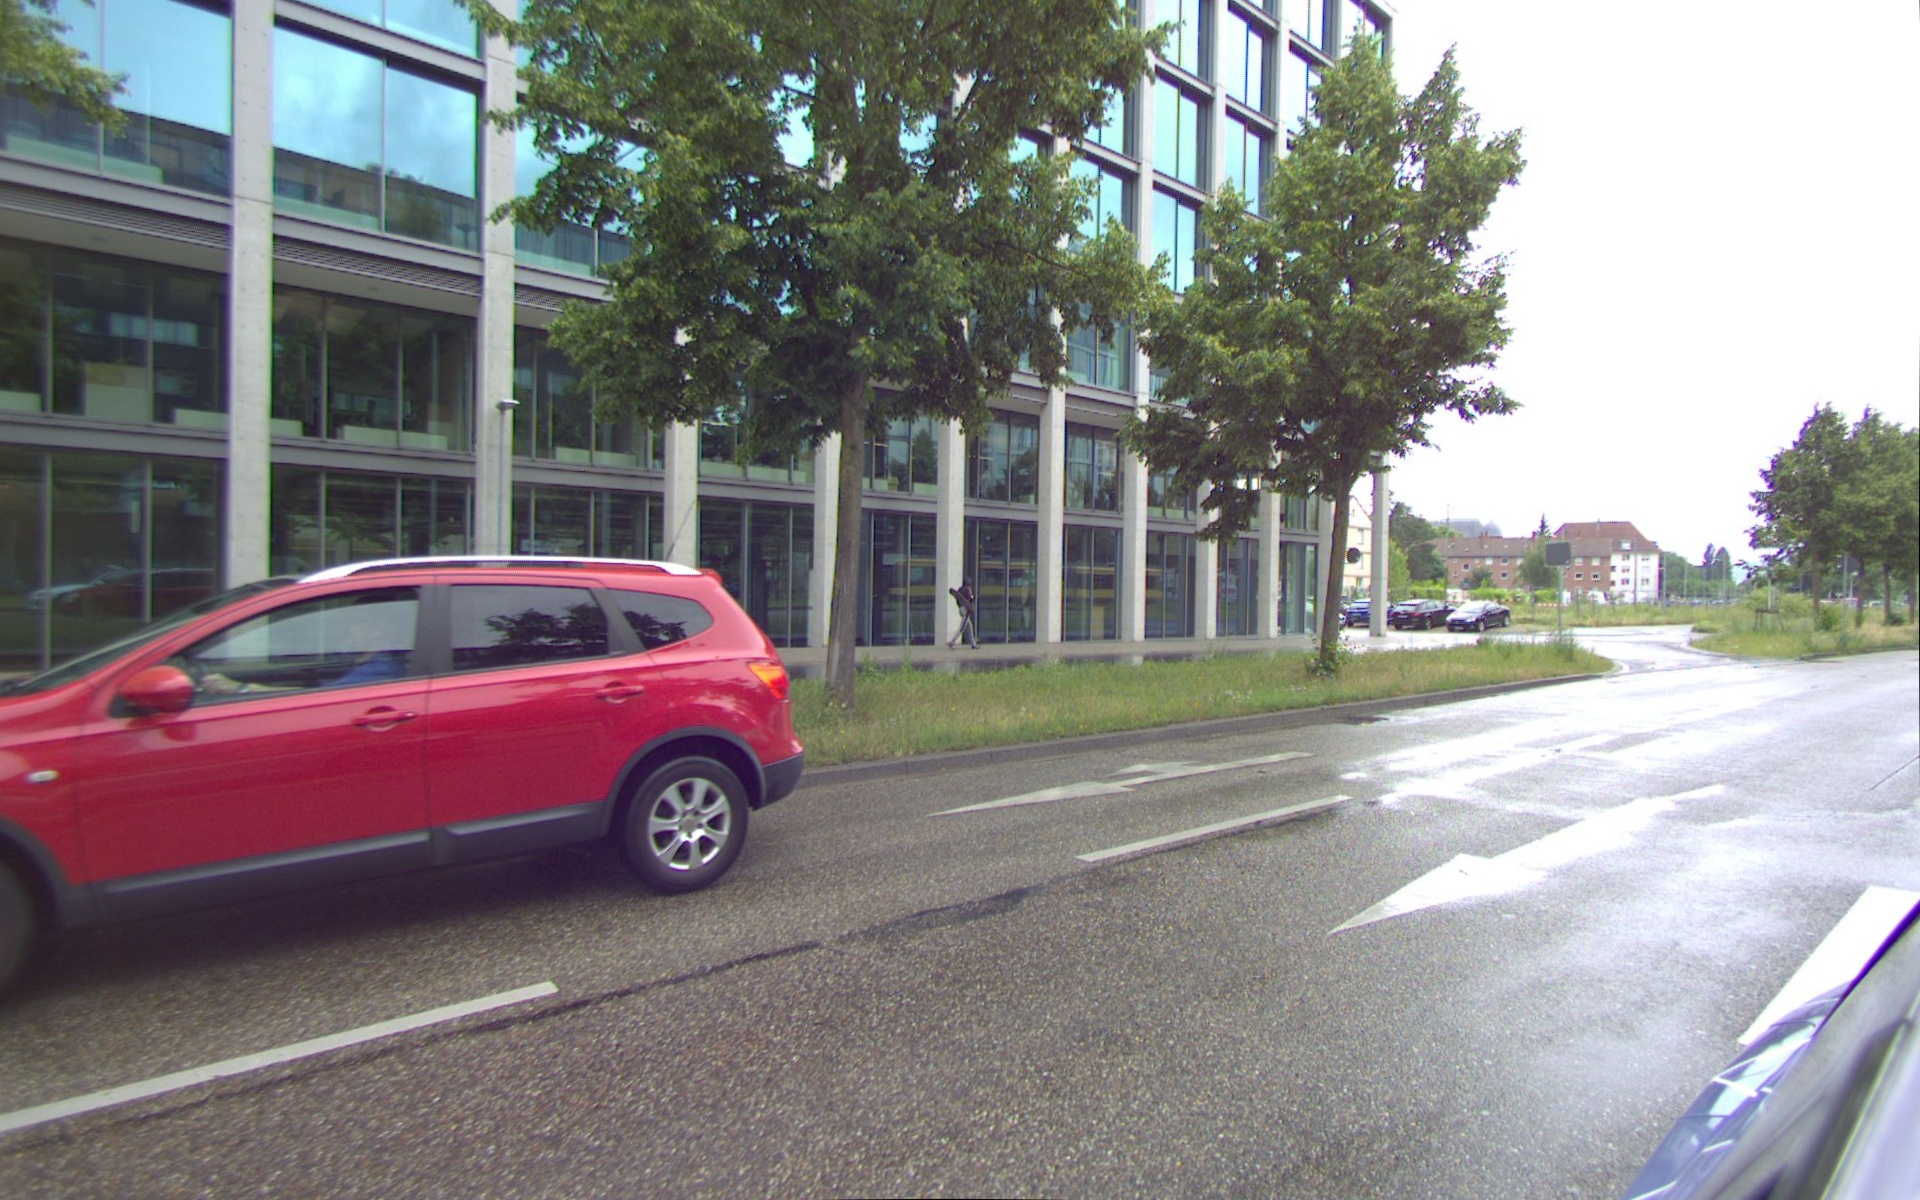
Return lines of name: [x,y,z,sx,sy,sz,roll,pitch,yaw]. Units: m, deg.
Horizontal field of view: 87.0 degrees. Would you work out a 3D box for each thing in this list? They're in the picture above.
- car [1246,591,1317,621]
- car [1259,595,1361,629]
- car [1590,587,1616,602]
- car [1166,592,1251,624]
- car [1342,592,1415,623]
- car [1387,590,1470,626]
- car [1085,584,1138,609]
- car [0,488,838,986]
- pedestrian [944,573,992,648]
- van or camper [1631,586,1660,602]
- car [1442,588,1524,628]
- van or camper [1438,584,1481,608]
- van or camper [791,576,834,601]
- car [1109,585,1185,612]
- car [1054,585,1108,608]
car: [18.920,0.329,59.457,4.152,1.492,1.792,-4,3,-35]
car: [16.489,0.534,47.851,1.943,1.456,4.233,3,-1,-35]
car: [98.499,-0.832,155.031,4.681,2.248,2.273,0,0,-44]
car: [12.902,0.411,52.706,1.826,1.507,3.999,3,-1,-36]
car: [22.745,0.376,54.978,3.925,1.472,1.861,-3,2,-35]
car: [24.266,0.362,52.374,4.473,1.472,1.861,-5,4,-35]
car: [12.047,-0.332,80.279,3.955,1.732,1.703,-4,3,-33]
car: [-2.834,0.499,4.753,4.168,1.633,1.798,1,-4,-39]
pedestrian: [0.188,0.250,24.273,0.846,1.736,0.718,1,2,-41]
van or camper: [99.836,-0.886,147.453,6.045,2.337,2.205,0,-1,-43]
car: [25.908,0.367,50.080,3.925,1.599,1.862,-6,3,-33]
van or camper: [57.103,-0.469,115.730,6.288,2.723,2.311,0,1,-43]
van or camper: [-15.463,-1.190,105.857,2.054,2.617,5.629,0,0,-36]
car: [10.392,-0.119,56.510,1.825,1.390,4.000,2,0,-35]
car: [9.140,-0.286,76.119,3.966,1.514,1.857,-5,3,-43]
